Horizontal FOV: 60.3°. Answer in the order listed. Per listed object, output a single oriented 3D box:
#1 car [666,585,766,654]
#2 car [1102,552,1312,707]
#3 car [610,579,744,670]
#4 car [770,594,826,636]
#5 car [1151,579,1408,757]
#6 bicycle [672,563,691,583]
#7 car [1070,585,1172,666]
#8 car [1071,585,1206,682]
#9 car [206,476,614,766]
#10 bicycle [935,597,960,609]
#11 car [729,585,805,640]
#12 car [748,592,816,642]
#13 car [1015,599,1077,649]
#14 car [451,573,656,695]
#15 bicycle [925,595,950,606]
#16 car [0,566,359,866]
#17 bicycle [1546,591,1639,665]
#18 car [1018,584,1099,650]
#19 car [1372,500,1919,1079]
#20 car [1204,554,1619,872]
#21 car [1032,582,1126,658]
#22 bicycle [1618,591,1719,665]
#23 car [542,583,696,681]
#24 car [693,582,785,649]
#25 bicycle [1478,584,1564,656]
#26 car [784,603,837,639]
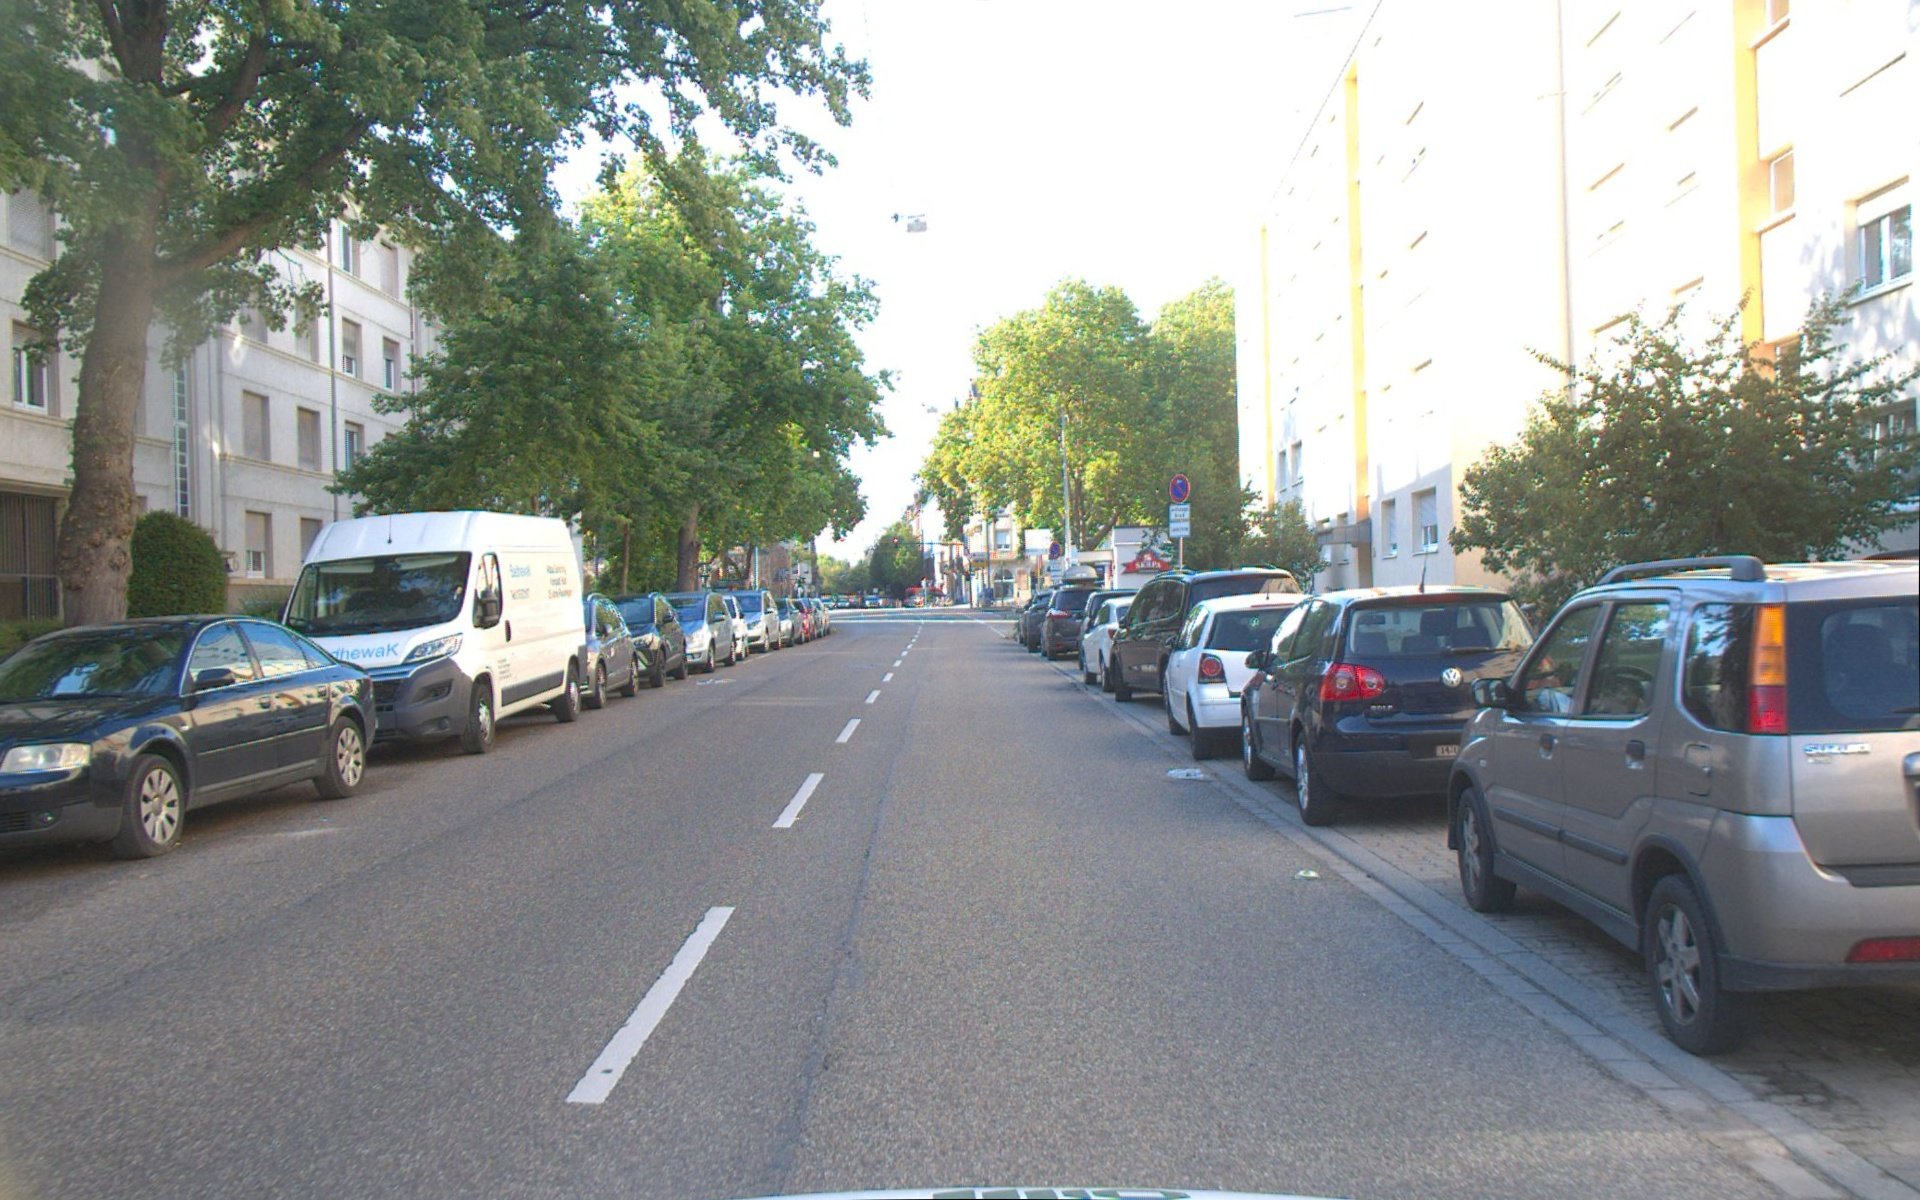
[{"bbox_3d":[-5.907,0.490,40.463,1.832,1.586,4.100,1,-1,-1],"label":"car"},{"bbox_3d":[3.092,0.386,21.704,1.983,1.780,4.765,1,-1,-1],"label":"car"},{"bbox_3d":[-5.757,0.454,34.257,1.833,1.585,5.056,-5,0,-1],"label":"car"},{"bbox_3d":[-5.935,0.566,60.968,1.669,1.465,4.128,1,-1,-1],"label":"car"},{"bbox_3d":[3.025,0.628,16.505,1.799,1.528,4.172,1,-1,1],"label":"car"},{"bbox_3d":[-17.881,-1.735,106.326,0.703,1.166,3.291,1,-1,-1],"label":"bicycle"},{"bbox_3d":[3.173,0.518,33.289,1.573,1.520,4.041,-1,-1,-1],"label":"car"},{"bbox_3d":[2.841,0.543,27.142,1.645,1.440,4.723,1,-1,-1],"label":"car"},{"bbox_3d":[-5.683,0.245,18.231,2.310,2.488,6.164,-4,-1,0],"label":"car"},{"bbox_3d":[-1.373,0.336,183.217,2.750,1.225,0.509,1,-1,-7],"label":"bicycle"},{"bbox_3d":[-5.888,0.403,50.858,1.832,1.586,4.496,1,-1,-1],"label":"car"},{"bbox_3d":[-5.880,0.590,54.996,1.832,1.586,3.999,1,-1,-1],"label":"car"},{"bbox_3d":[2.677,0.758,52.427,1.705,1.499,3.999,1,-1,-1],"label":"car"},{"bbox_3d":[-5.770,0.489,24.034,1.917,1.586,4.345,1,-1,-1],"label":"car"},{"bbox_3d":[-2.523,0.051,184.740,2.750,1.225,0.516,1,-1,-8],"label":"bicycle"},{"bbox_3d":[-5.497,0.682,10.875,1.672,1.601,3.818,-2,-1,0],"label":"car"},{"bbox_3d":[10.354,0.430,27.161,0.588,1.100,2.393,-2,1,0],"label":"bicycle"},{"bbox_3d":[2.637,0.478,45.286,1.887,1.688,4.676,1,-1,-1],"label":"car"},{"bbox_3d":[3.237,0.554,6.873,1.922,1.633,4.278,-2,-1,0],"label":"car"},{"bbox_3d":[3.011,0.711,11.950,1.800,1.802,3.977,-3,-1,0],"label":"car"},{"bbox_3d":[2.787,0.447,39.647,1.859,1.680,4.342,-1,0,-1],"label":"car"},{"bbox_3d":[11.501,0.436,26.945,0.588,1.100,2.393,-2,1,0],"label":"bicycle"},{"bbox_3d":[-5.940,0.561,29.290,1.832,1.586,4.364,1,-1,-1],"label":"car"},{"bbox_3d":[-6.002,0.443,45.434,1.877,1.707,4.973,1,-1,-1],"label":"car"},{"bbox_3d":[9.287,0.312,27.485,0.588,1.100,2.393,-2,1,0],"label":"bicycle"},{"bbox_3d":[-5.925,0.840,65.995,1.733,1.376,4.709,1,-1,-1],"label":"car"}]
